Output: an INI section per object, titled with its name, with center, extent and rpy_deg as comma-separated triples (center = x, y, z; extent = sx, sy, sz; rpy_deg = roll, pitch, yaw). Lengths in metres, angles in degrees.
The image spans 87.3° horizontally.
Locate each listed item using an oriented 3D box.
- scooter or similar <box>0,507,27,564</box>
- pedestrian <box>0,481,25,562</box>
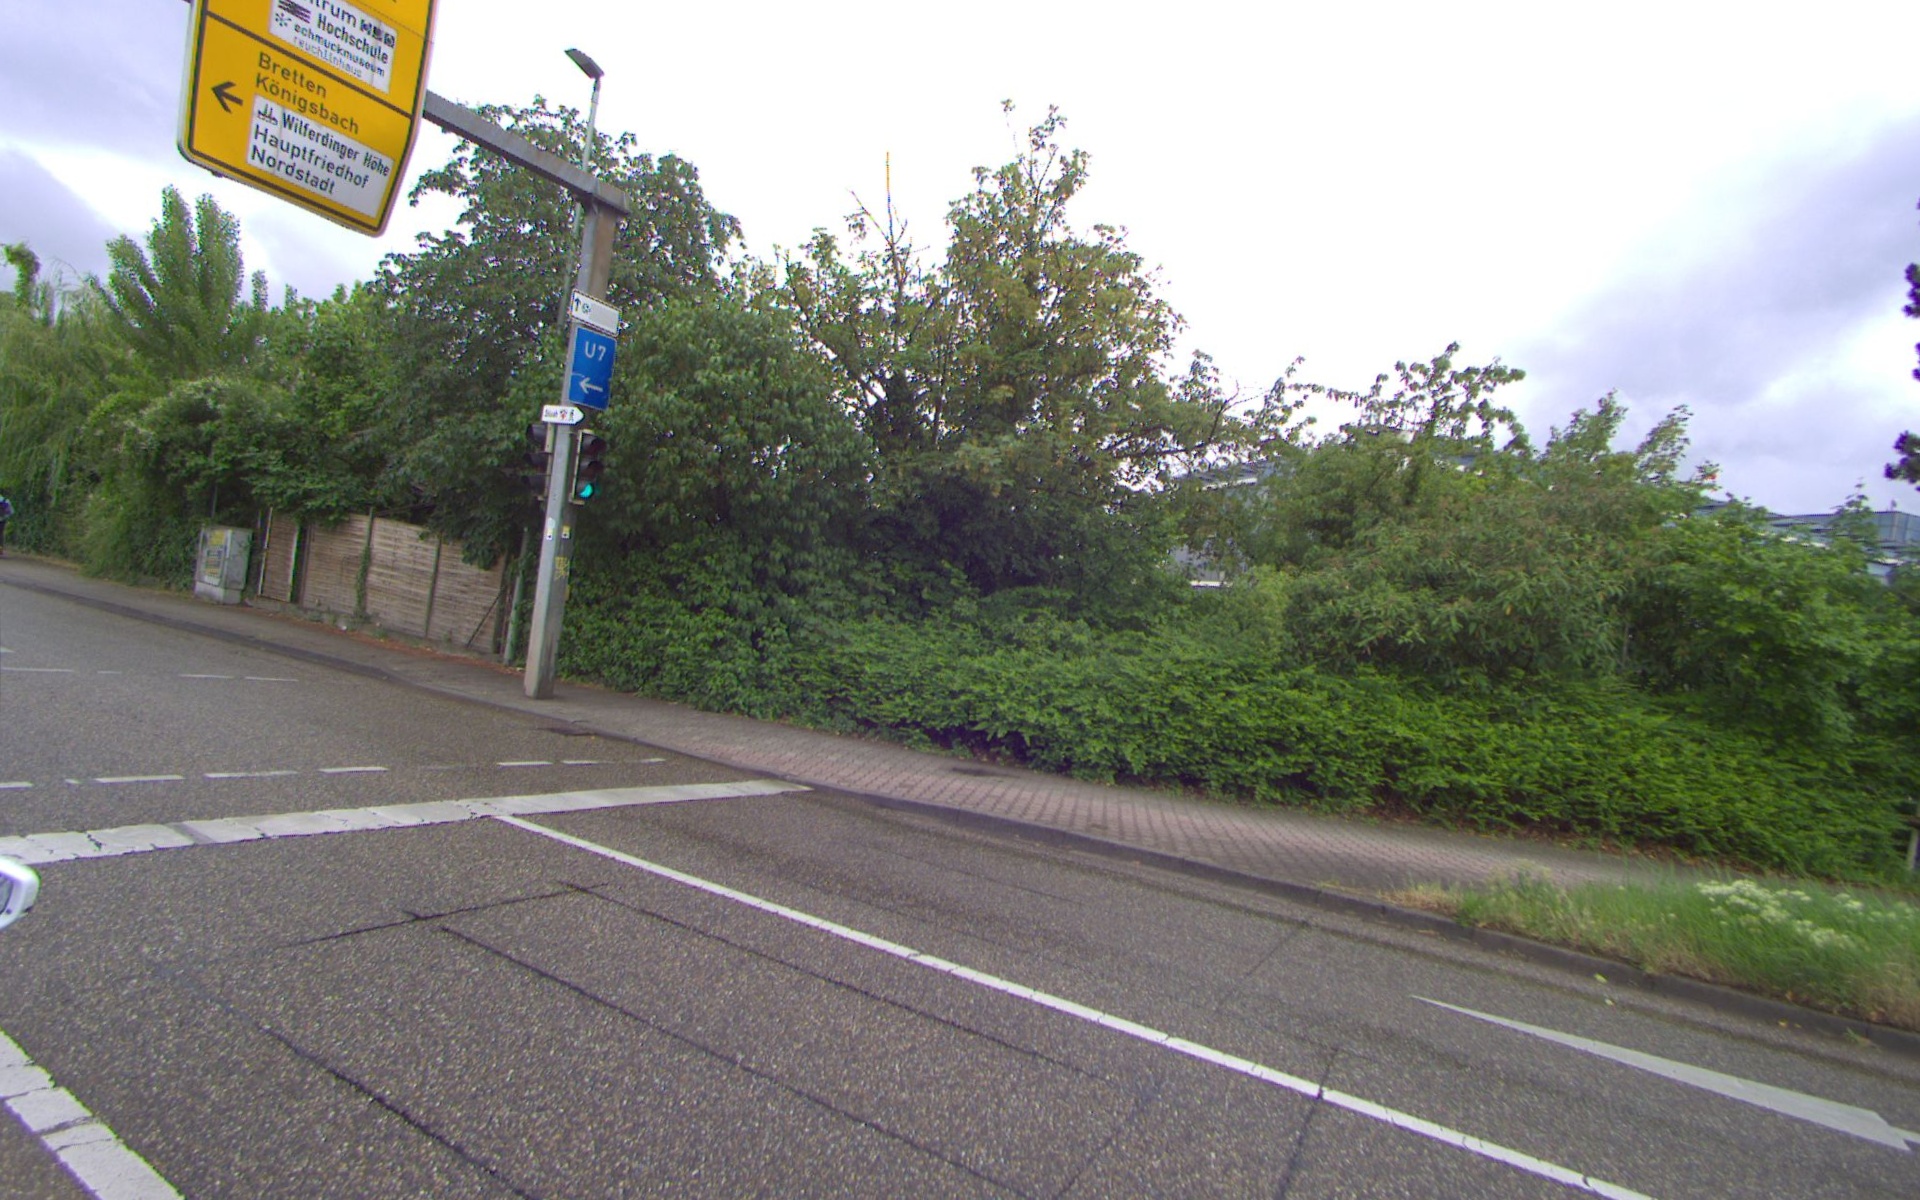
[scooter or similar]
center = -24.641, -1.688, 25.842
extent = 1.361, 1.378, 0.462
rpy_deg = 7, 0, 28
[pedestrian]
center = -24.866, -2.064, 26.008
extent = 0.705, 2.026, 0.657
rpy_deg = 7, 0, 28
